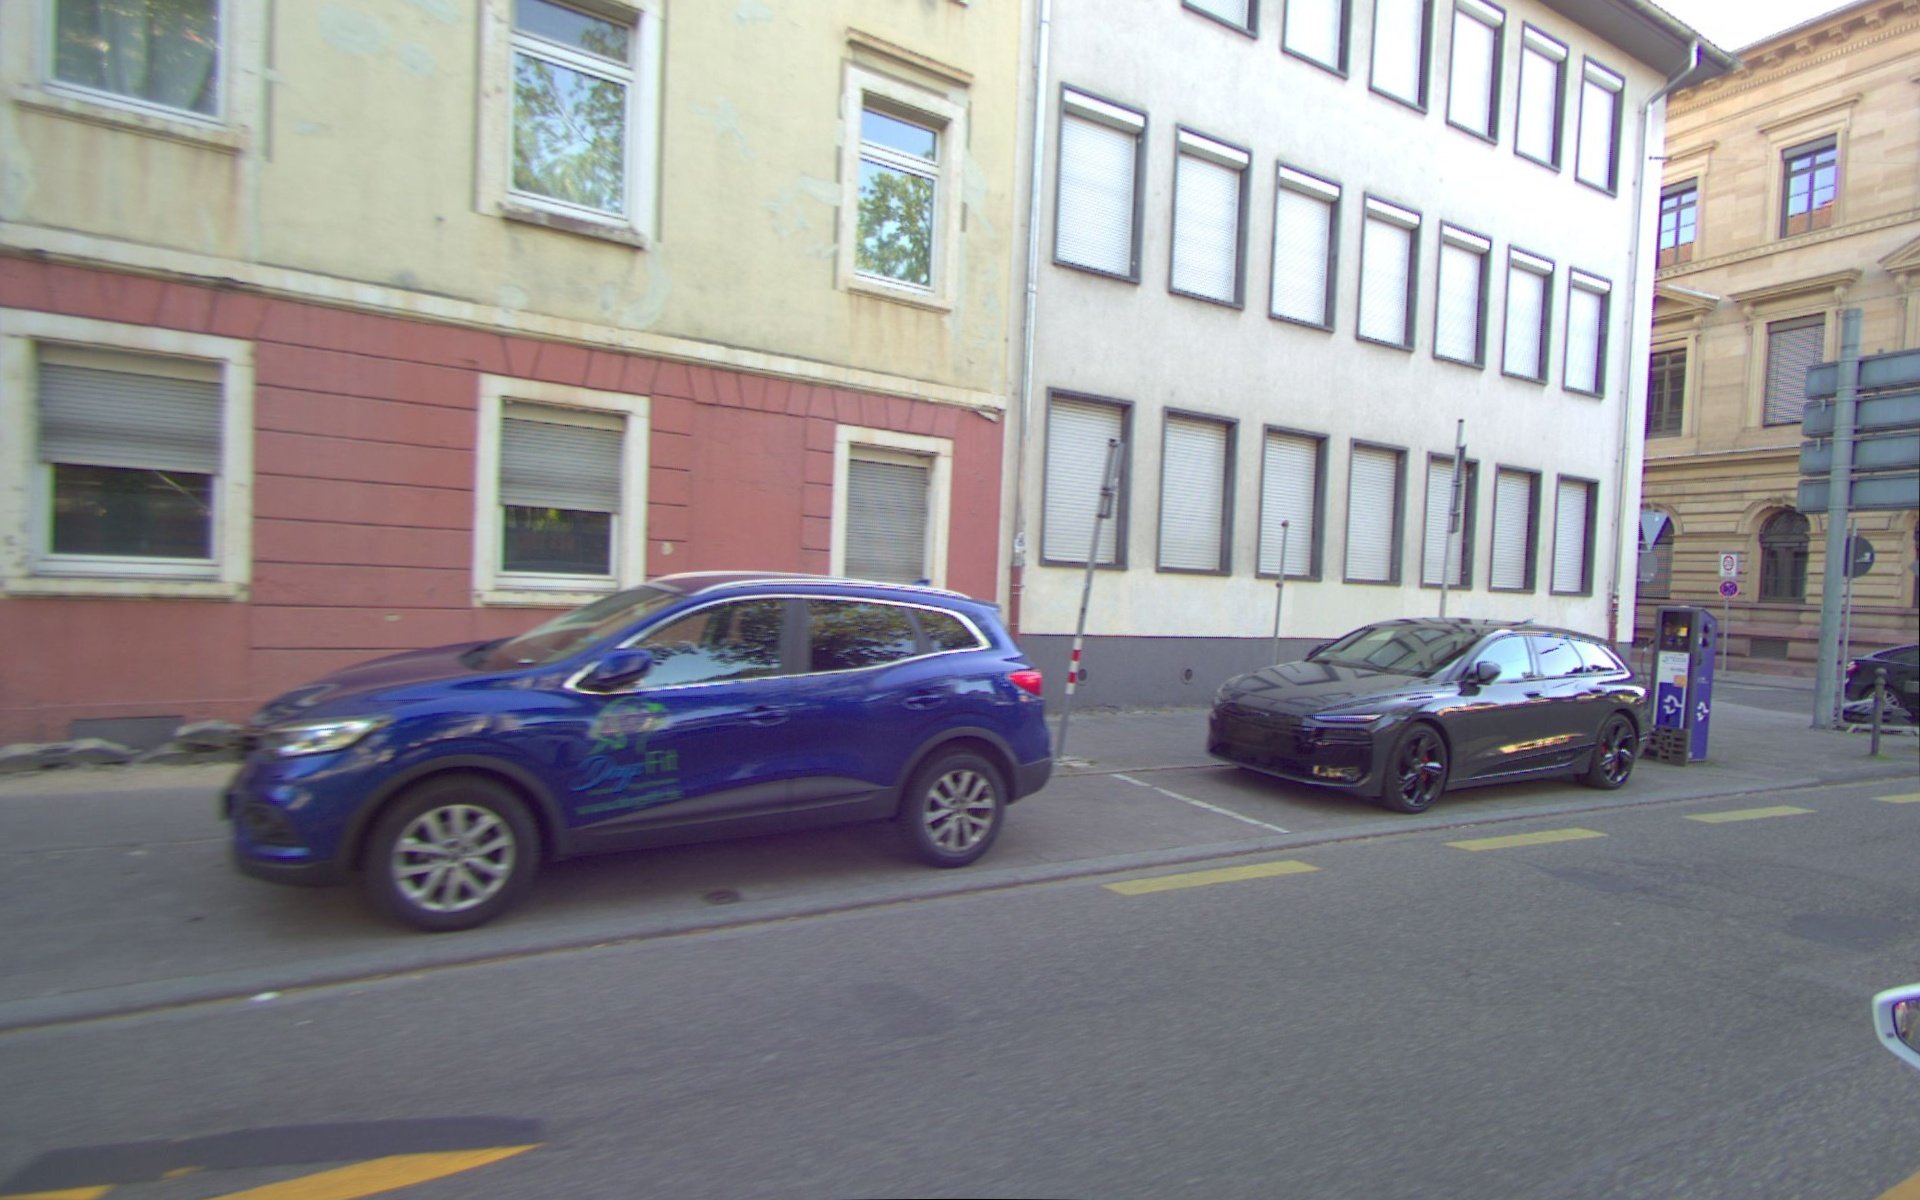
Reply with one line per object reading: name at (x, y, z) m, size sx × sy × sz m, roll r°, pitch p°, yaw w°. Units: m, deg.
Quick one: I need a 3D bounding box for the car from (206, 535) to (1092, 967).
car at (-1.547, 0.624, 5.850) m, size 4.296 × 1.690 × 1.924 m, roll 2°, pitch 1°, yaw -30°

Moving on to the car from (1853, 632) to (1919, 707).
car at (20.788, 1.463, 19.962) m, size 1.764 × 1.480 × 4.411 m, roll 2°, pitch 0°, yaw -44°

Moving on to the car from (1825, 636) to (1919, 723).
car at (17.240, 1.405, 16.477) m, size 1.749 × 1.408 × 4.307 m, roll 2°, pitch 0°, yaw -20°

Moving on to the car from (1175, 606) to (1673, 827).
car at (4.420, 0.921, 9.358) m, size 4.705 × 1.524 × 1.814 m, roll 2°, pitch 2°, yaw -31°
